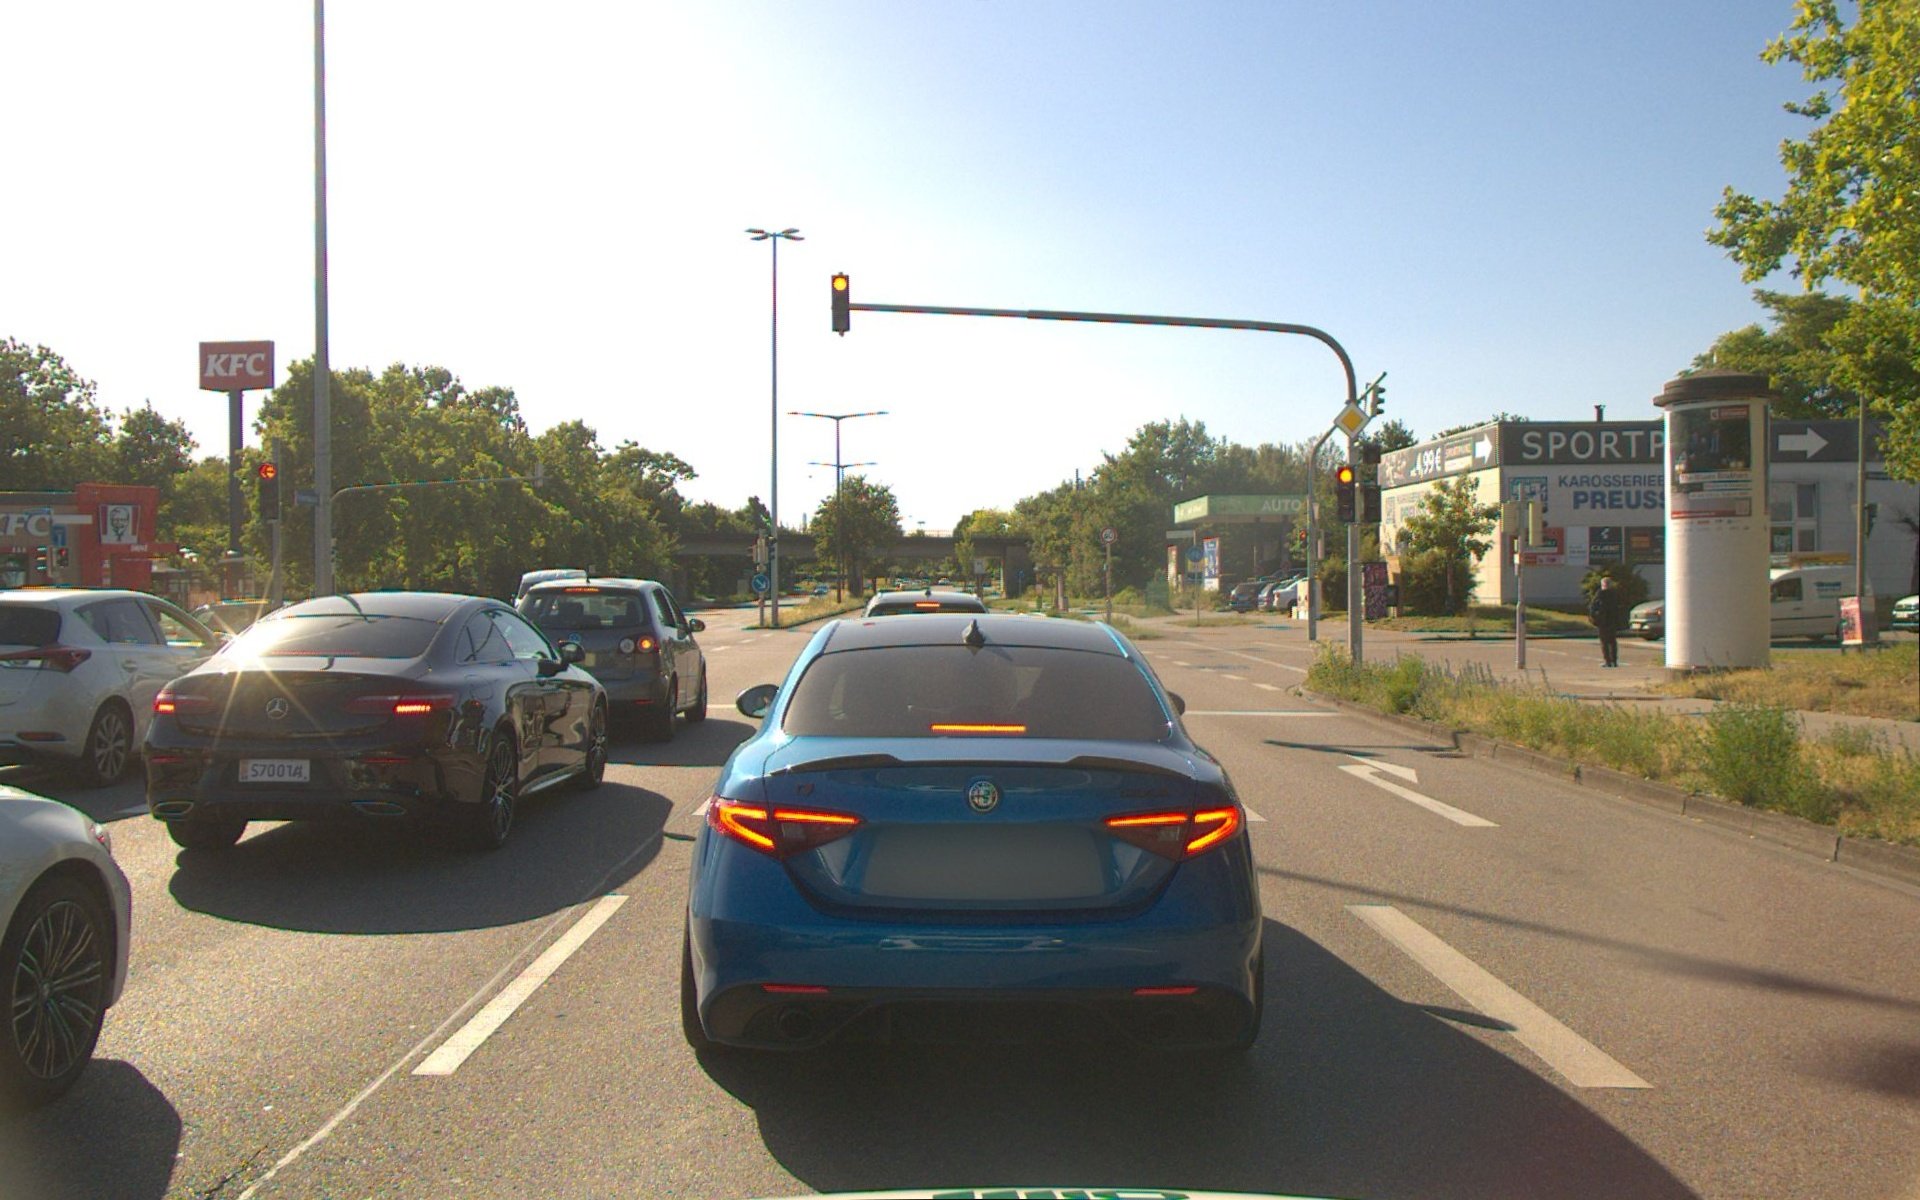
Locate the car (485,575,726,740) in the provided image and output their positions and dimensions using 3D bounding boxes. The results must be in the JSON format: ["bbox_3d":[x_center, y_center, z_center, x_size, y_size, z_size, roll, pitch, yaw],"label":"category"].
[{"bbox_3d":[-3.624,0.547,17.661,1.723,1.516,4.401,1,0,-2],"label":"car"}]

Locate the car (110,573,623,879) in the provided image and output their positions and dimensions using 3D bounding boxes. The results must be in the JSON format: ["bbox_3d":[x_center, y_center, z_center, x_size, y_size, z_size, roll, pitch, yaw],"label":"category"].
[{"bbox_3d":[-3.438,0.644,10.563,1.760,1.516,4.474,1,0,-2],"label":"car"}]

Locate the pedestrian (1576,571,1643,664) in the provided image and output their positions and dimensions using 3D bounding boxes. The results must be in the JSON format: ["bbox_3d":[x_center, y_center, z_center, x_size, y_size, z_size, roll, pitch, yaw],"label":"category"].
[{"bbox_3d":[12.620,0.328,32.142,0.906,1.765,0.938,1,-1,-1],"label":"pedestrian"}]

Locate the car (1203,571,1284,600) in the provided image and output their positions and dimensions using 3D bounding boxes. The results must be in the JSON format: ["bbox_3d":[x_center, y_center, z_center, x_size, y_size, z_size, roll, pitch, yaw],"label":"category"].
[{"bbox_3d":[16.713,-0.852,97.596,4.457,1.516,1.765,-2,0,1],"label":"car"}]

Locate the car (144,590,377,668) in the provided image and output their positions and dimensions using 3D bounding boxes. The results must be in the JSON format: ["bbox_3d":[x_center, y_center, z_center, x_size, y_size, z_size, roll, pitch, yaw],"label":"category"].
[{"bbox_3d":[-15.304,0.616,36.347,4.320,1.516,1.765,-2,0,1],"label":"car"}]

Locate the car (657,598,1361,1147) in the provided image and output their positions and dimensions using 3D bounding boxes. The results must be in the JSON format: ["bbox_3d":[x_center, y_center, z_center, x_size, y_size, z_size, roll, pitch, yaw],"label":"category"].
[{"bbox_3d":[0.070,0.739,6.605,1.857,1.443,4.401,1,0,-2],"label":"car"}]

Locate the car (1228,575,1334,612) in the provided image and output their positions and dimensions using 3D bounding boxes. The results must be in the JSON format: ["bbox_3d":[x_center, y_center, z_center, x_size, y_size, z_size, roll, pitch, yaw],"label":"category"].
[{"bbox_3d":[14.393,-0.290,74.388,4.397,1.479,1.858,-2,0,1],"label":"car"}]

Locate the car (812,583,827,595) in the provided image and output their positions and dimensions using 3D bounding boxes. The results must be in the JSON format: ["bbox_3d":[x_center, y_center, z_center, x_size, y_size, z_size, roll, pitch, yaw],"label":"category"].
[{"bbox_3d":[-19.229,-1.454,226.434,1.723,1.516,4.477,-2,0,-1],"label":"car"}]

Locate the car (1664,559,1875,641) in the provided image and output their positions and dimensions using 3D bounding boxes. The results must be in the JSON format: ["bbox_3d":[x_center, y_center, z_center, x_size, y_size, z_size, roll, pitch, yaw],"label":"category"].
[{"bbox_3d":[19.556,-0.019,40.052,4.293,1.833,1.764,-1,2,-2],"label":"car"}]

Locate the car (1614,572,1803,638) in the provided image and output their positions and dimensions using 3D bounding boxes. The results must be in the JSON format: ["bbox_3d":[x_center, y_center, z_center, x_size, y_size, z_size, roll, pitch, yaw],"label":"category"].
[{"bbox_3d":[19.593,0.111,43.390,4.201,1.576,1.764,-1,2,-2],"label":"car"}]

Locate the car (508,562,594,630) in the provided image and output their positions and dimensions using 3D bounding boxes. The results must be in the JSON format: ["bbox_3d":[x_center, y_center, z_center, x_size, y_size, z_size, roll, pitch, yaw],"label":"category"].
[{"bbox_3d":[-16.361,-0.147,66.484,1.981,2.489,5.820,-3,0,-1],"label":"car"}]

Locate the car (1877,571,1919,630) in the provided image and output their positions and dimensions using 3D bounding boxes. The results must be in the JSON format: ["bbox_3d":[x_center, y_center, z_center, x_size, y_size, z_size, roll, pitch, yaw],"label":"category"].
[{"bbox_3d":[26.702,-0.056,43.700,3.960,1.516,1.782,-2,0,-3],"label":"car"}]

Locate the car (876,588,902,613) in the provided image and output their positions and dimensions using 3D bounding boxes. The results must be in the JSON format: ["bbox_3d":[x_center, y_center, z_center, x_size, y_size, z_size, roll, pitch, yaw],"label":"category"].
[{"bbox_3d":[-5.369,0.036,125.904,1.853,1.847,3.999,1,0,-1],"label":"car"}]

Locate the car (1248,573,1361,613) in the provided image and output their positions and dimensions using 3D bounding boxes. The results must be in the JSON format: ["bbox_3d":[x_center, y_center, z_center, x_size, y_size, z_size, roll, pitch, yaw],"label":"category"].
[{"bbox_3d":[14.622,-0.299,70.341,4.397,1.479,1.858,-2,0,1],"label":"car"}]

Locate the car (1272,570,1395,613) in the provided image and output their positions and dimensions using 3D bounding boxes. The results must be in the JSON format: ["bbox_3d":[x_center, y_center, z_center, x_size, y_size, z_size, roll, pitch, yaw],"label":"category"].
[{"bbox_3d":[14.602,-0.322,64.808,4.397,1.479,1.858,-2,0,1],"label":"car"}]

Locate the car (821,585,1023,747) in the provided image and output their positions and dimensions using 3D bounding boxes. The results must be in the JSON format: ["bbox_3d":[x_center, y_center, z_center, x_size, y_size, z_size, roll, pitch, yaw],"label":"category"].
[{"bbox_3d":[-0.413,0.609,17.233,1.813,1.443,4.401,1,0,-2],"label":"car"}]

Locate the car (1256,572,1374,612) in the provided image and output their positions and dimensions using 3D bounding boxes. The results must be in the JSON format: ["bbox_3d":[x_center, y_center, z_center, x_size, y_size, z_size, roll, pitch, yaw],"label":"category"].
[{"bbox_3d":[14.479,-0.322,67.585,4.397,1.479,1.858,-2,0,1],"label":"car"}]

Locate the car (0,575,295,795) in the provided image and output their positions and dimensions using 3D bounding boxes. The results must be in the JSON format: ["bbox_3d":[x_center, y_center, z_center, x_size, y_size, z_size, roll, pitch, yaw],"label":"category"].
[{"bbox_3d":[-7.105,0.584,13.535,1.723,1.516,4.195,1,0,-2],"label":"car"}]

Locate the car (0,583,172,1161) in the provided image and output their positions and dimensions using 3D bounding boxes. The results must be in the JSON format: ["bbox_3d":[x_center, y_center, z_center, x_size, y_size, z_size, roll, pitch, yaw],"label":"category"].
[{"bbox_3d":[-3.342,0.693,3.058,1.749,1.516,4.401,1,0,-2],"label":"car"}]
